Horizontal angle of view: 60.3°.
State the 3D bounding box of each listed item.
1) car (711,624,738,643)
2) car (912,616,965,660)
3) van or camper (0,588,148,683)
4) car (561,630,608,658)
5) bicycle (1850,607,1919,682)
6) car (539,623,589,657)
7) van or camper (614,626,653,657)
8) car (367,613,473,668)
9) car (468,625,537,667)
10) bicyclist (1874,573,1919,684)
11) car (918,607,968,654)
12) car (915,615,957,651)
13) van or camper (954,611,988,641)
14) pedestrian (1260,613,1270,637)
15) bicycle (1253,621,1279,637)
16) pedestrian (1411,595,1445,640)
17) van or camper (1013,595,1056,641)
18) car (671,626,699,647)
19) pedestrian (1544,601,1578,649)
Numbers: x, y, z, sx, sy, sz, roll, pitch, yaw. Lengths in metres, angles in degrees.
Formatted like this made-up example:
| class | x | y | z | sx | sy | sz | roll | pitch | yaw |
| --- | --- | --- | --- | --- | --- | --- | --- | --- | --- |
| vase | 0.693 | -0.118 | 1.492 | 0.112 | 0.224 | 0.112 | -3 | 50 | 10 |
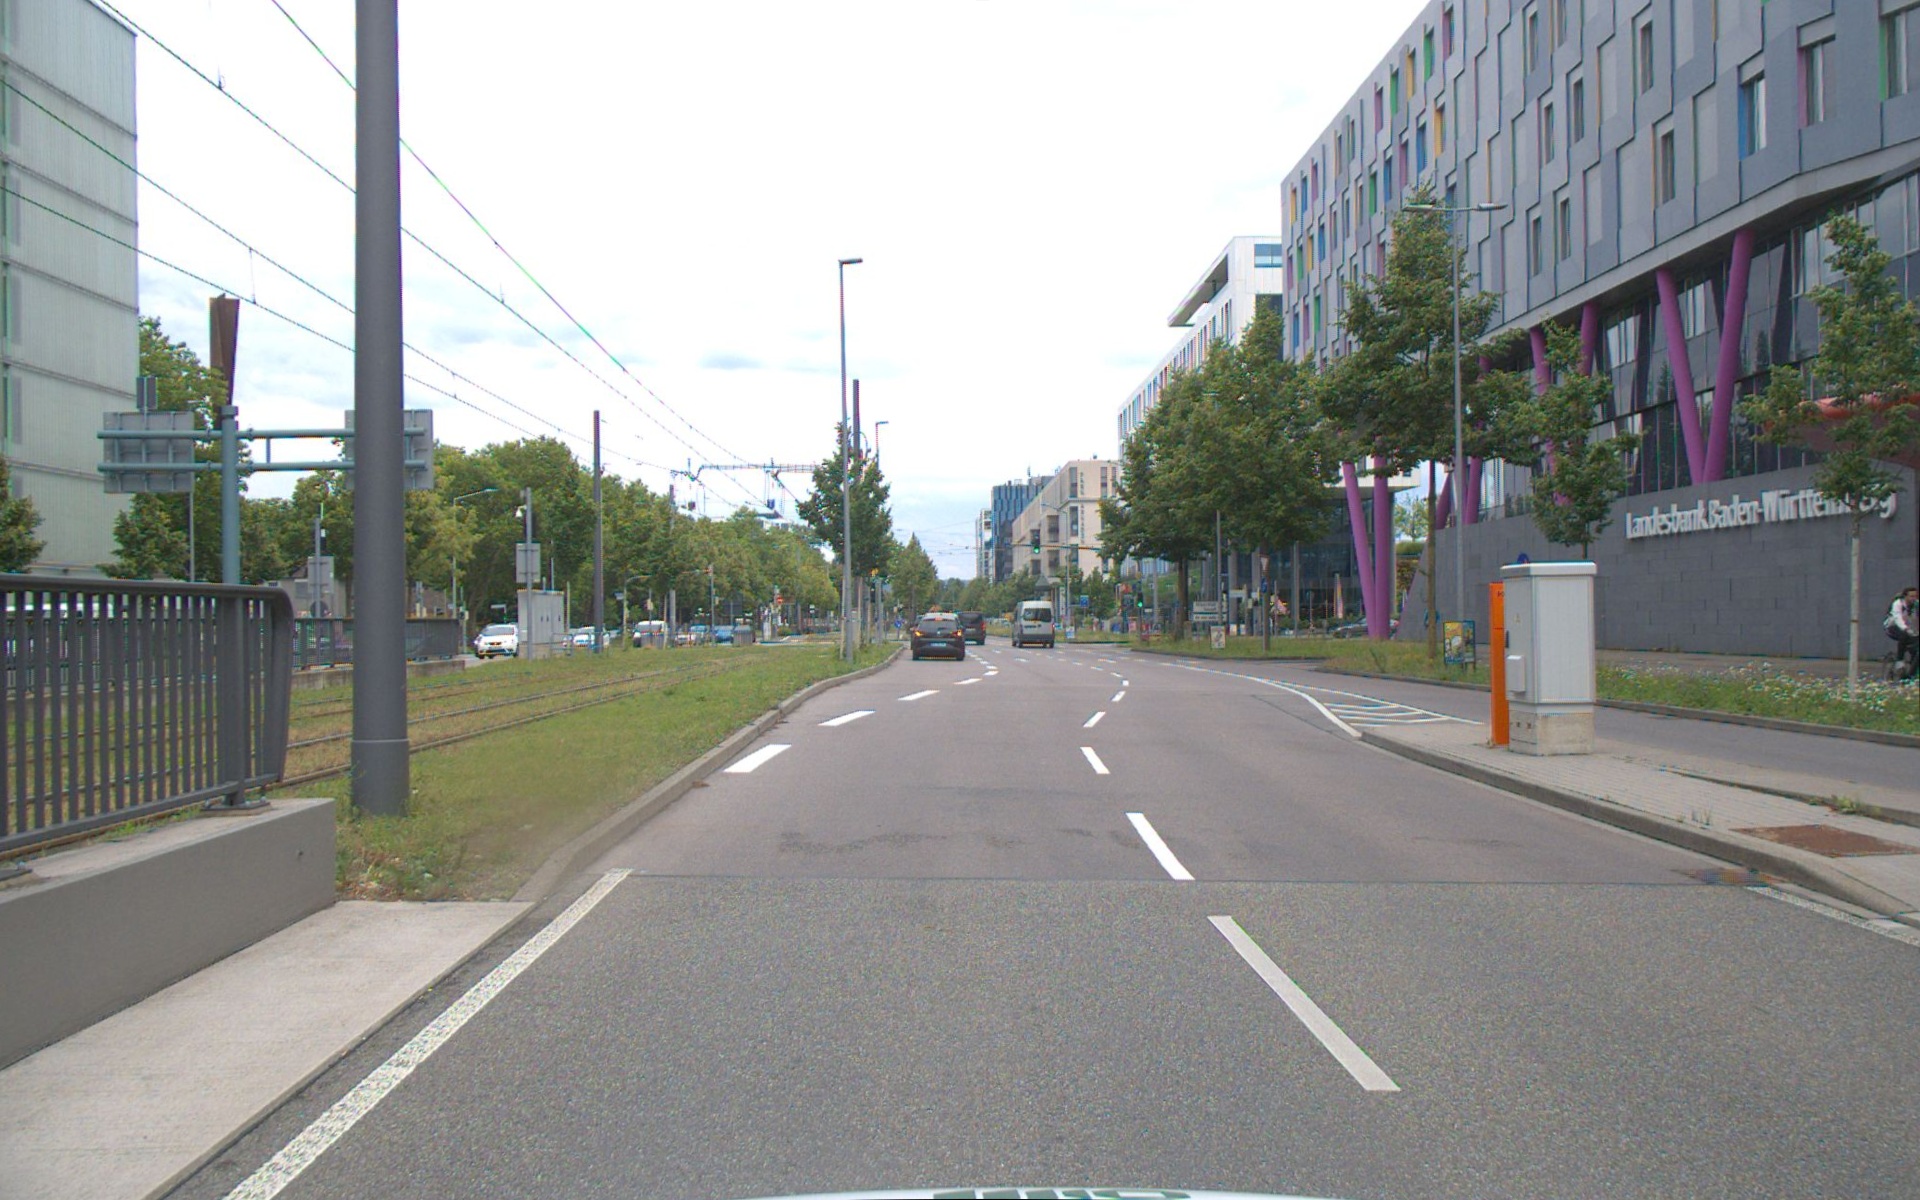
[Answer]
| class | x | y | z | sx | sy | sz | roll | pitch | yaw |
| --- | --- | --- | --- | --- | --- | --- | --- | --- | --- |
| car | -21.532 | 3.054 | 151.460 | 1.924 | 1.616 | 4.687 | 0 | -1 | -2 |
| car | -0.746 | 1.259 | 55.805 | 1.708 | 1.442 | 3.998 | 1 | -1 | -2 |
| van or camper | -23.673 | 0.905 | 43.414 | 2.129 | 2.326 | 5.357 | -1 | 0 | -1 |
| car | -21.687 | 2.519 | 95.608 | 1.727 | 1.505 | 4.571 | -2 | -1 | -1 |
| bicycle | 15.949 | 0.726 | 27.711 | 0.767 | 1.215 | 2.219 | -1 | 0 | -3 |
| car | -25.619 | 2.564 | 107.166 | 1.953 | 2.049 | 5.293 | -1 | -1 | -1 |
| van or camper | -22.223 | 2.806 | 112.733 | 1.851 | 1.933 | 5.122 | -2 | -1 | -3 |
| car | -16.697 | 1.218 | 51.405 | 1.746 | 1.541 | 4.970 | -1 | 0 | -1 |
| car | -20.012 | 1.978 | 72.486 | 1.953 | 1.613 | 4.377 | -1 | 1 | -2 |
| bicyclist | 15.946 | 0.458 | 27.626 | 0.755 | 1.818 | 0.973 | -1 | 0 | -3 |
| car | -0.654 | 1.130 | 62.140 | 1.766 | 1.653 | 3.999 | -1 | -1 | -1 |
| car | -1.163 | 1.608 | 81.880 | 1.952 | 1.711 | 4.000 | 0 | -1 | 1 |
| van or camper | 0.614 | 1.493 | 97.085 | 1.953 | 1.643 | 4.788 | 0 | 0 | 0 |
| pedestrian | 21.609 | 1.770 | 117.085 | 0.602 | 1.632 | 0.618 | -1 | -1 | 1 |
| bicycle | 21.654 | 2.036 | 117.080 | 1.755 | 1.104 | 0.618 | -1 | -1 | 1 |
| pedestrian | 19.106 | 0.697 | 67.538 | 1.030 | 1.801 | 1.137 | -1 | 0 | 0 |
| van or camper | 4.070 | 0.945 | 90.894 | 2.066 | 2.397 | 4.923 | 0 | 1 | 0 |
| car | -21.301 | 2.790 | 128.175 | 1.695 | 1.470 | 4.916 | -3 | 0 | -5 |
| pedestrian | 20.187 | 0.837 | 55.549 | 0.768 | 1.610 | 0.914 | -1 | 0 | 0 |
